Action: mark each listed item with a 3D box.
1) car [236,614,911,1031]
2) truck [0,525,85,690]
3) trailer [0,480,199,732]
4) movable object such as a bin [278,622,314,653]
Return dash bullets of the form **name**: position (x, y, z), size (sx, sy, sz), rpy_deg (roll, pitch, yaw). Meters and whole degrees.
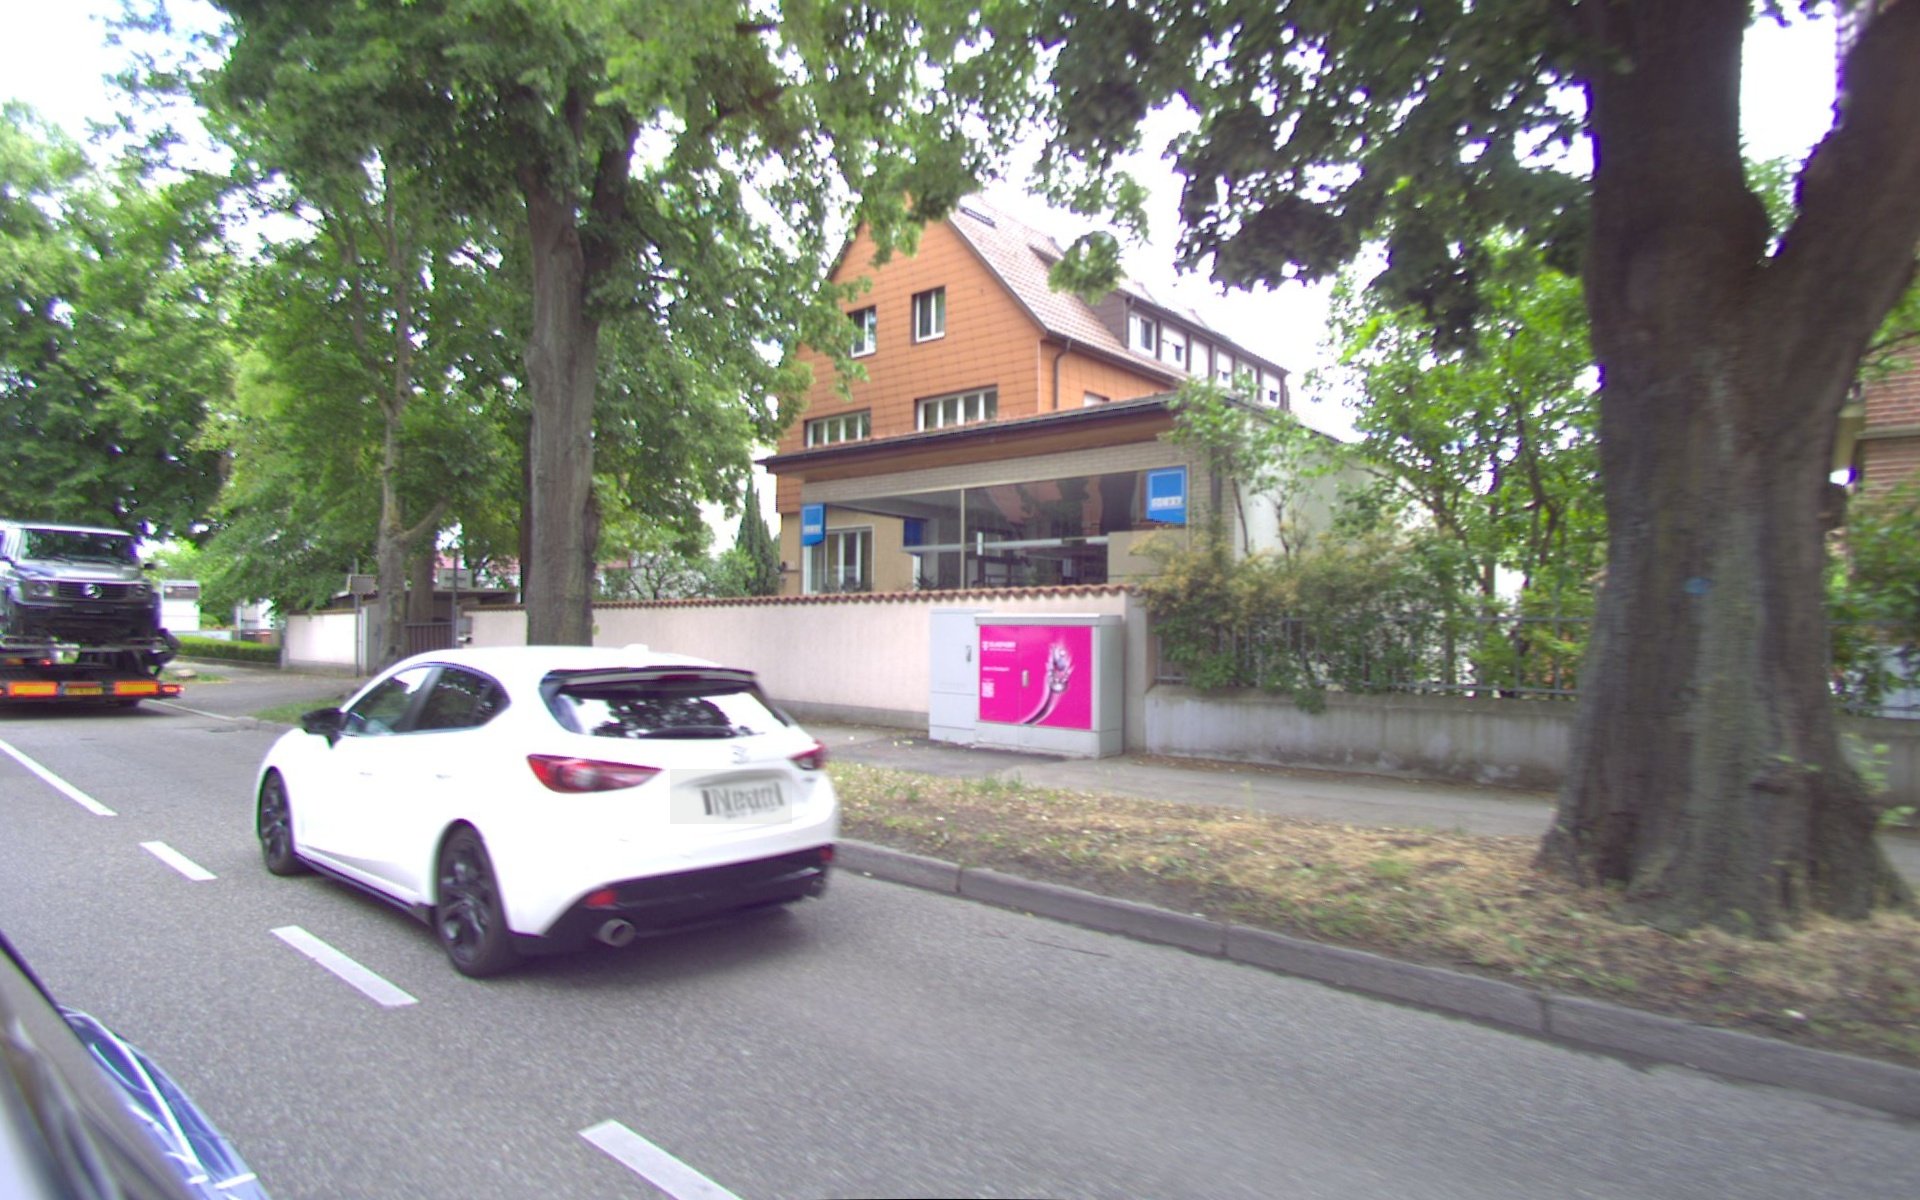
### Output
- **car**: position (-2.418, 0.873, 5.708), size (4.225, 1.481, 1.748), rpy_deg (-1, -4, 42)
- **truck**: position (-24.898, 0.201, 25.905), size (7.667, 3.811, 2.814), rpy_deg (-1, -1, 42)
- **trailer**: position (-19.307, 0.155, 20.966), size (14.385, 3.837, 2.828), rpy_deg (-1, -1, 41)
- **movable object such as a bin**: position (-33.535, 1.876, 51.109), size (0.992, 1.476, 1.285), rpy_deg (-1, -1, 41)
